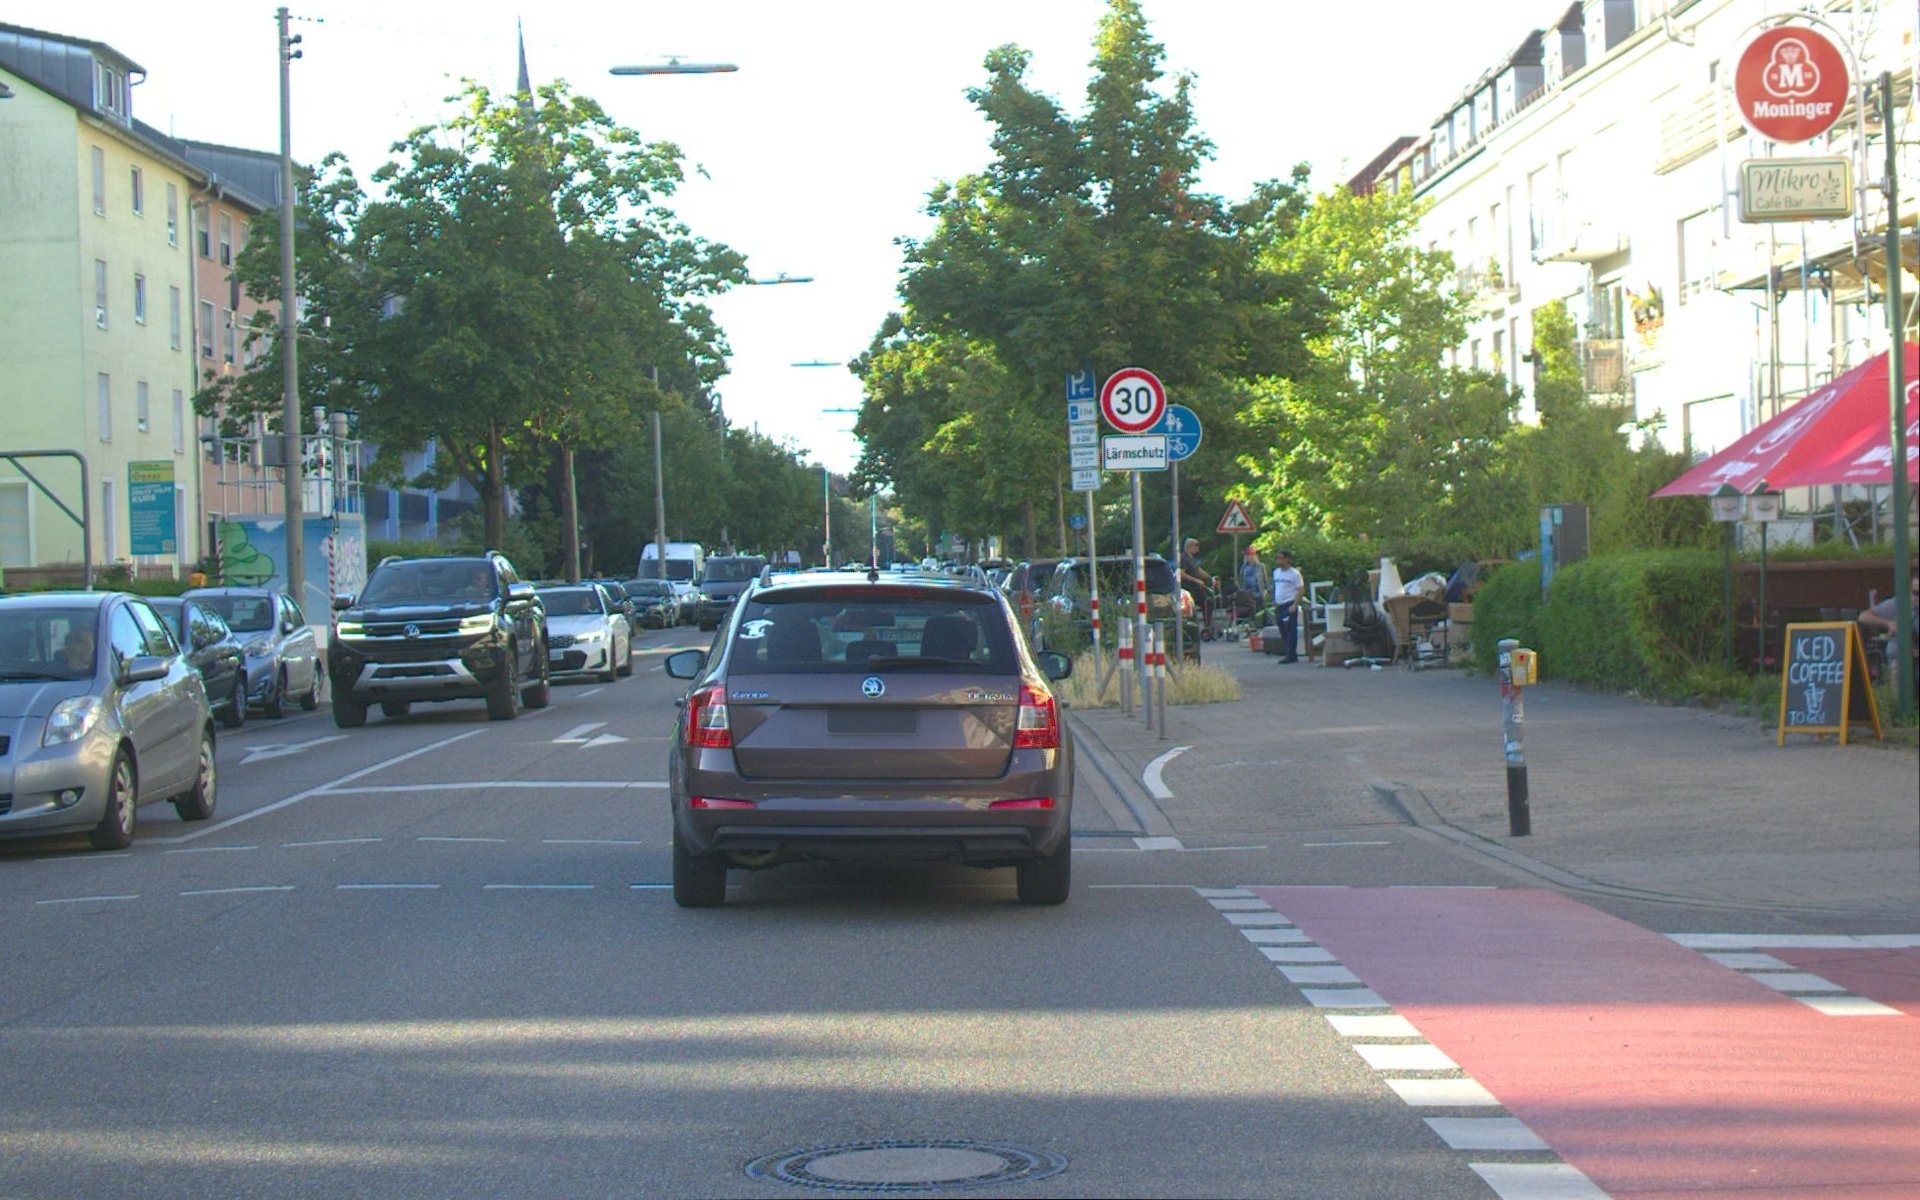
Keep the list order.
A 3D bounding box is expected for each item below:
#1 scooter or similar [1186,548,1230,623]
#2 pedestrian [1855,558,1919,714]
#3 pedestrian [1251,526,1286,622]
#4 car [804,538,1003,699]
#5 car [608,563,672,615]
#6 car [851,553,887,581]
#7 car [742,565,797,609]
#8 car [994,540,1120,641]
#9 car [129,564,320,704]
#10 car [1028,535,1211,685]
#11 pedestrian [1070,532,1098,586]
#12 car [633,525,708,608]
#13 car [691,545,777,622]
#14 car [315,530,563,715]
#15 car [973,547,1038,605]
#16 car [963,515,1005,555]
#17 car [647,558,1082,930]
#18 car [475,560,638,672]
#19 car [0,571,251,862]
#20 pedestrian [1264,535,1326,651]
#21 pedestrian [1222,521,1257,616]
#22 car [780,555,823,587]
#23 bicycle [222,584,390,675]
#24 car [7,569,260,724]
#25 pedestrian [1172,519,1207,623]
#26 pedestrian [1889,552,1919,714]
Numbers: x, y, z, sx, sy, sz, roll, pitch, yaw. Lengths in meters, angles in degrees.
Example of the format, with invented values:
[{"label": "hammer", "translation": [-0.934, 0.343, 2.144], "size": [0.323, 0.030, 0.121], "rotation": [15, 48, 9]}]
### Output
[{"label": "scooter or similar", "translation": [4.463, -0.264, 61.784], "size": [0.746, 1.313, 0.721], "rotation": [-1, 1, 6]}, {"label": "pedestrian", "translation": [6.985, 0.266, 25.645], "size": [0.493, 1.146, 0.526], "rotation": [-1, 0, 3]}, {"label": "pedestrian", "translation": [5.499, -0.466, 61.341], "size": [0.510, 1.691, 0.527], "rotation": [-1, 1, -5]}, {"label": "car", "translation": [-0.596, 0.186, 35.498], "size": [1.892, 1.501, 3.790], "rotation": [2, 0, -1]}, {"label": "car", "translation": [-9.392, -0.332, 101.109], "size": [1.612, 1.468, 3.813], "rotation": [1, 1, -1]}, {"label": "car", "translation": [-5.953, -2.136, 224.100], "size": [1.993, 1.744, 4.001], "rotation": [-2, 1, -6]}, {"label": "car", "translation": [-7.096, -0.487, 128.375], "size": [1.832, 1.465, 4.452], "rotation": [-4, 1, -1]}, {"label": "car", "translation": [1.635, -0.192, 59.253], "size": [1.721, 1.650, 4.598], "rotation": [-1, 1, -4]}, {"label": "car", "translation": [-8.713, 0.371, 40.978], "size": [1.637, 1.546, 3.787], "rotation": [-1, 1, -3]}, {"label": "car", "translation": [1.806, 0.081, 40.021], "size": [1.792, 1.626, 4.030], "rotation": [-1, 1, -2]}, {"label": "pedestrian", "translation": [4.392, -1.452, 121.734], "size": [0.799, 1.854, 0.950], "rotation": [-2, 1, 10]}, {"label": "car", "translation": [-9.430, -1.118, 112.366], "size": [1.993, 2.607, 7.106], "rotation": [0, 1, -1]}, {"label": "car", "translation": [-6.120, -0.471, 93.542], "size": [1.993, 1.939, 4.778], "rotation": [-3, 1, -1]}, {"label": "car", "translation": [-5.703, 0.201, 38.268], "size": [1.862, 1.823, 5.227], "rotation": [-3, 1, 0]}, {"label": "car", "translation": [1.299, -0.724, 99.668], "size": [1.718, 1.595, 4.096], "rotation": [-2, 1, -1]}, {"label": "car", "translation": [1.055, -2.801, 148.486], "size": [1.754, 1.681, 4.252], "rotation": [0, 1, 1]}, {"label": "car", "translation": [-0.358, 0.557, 15.867], "size": [1.754, 1.487, 4.000], "rotation": [0, 1, 1]}, {"label": "car", "translation": [-5.879, 0.201, 50.588], "size": [1.836, 1.468, 4.671], "rotation": [-3, 1, -1]}, {"label": "car", "translation": [-5.611, 0.645, 20.744], "size": [1.804, 1.552, 4.000], "rotation": [-2, 1, 0]}, {"label": "pedestrian", "translation": [4.593, -0.103, 47.124], "size": [0.555, 1.562, 0.748], "rotation": [-2, 1, -19]}, {"label": "pedestrian", "translation": [5.048, -0.566, 62.140], "size": [0.510, 1.691, 0.527], "rotation": [-1, 1, -5]}, {"label": "car", "translation": [-7.653, -1.401, 166.400], "size": [1.700, 1.465, 4.294], "rotation": [-2, 1, 2]}, {"label": "bicycle", "translation": [-8.387, 0.373, 44.117], "size": [2.005, 1.085, 0.583], "rotation": [2, 0, 0]}, {"label": "car", "translation": [-8.607, 0.444, 36.108], "size": [1.653, 1.474, 3.943], "rotation": [-1, 1, 0]}, {"label": "pedestrian", "translation": [4.127, -0.518, 61.815], "size": [0.548, 1.843, 0.764], "rotation": [-1, 1, 6]}, {"label": "pedestrian", "translation": [6.954, 0.231, 24.691], "size": [0.412, 1.146, 0.631], "rotation": [-1, 0, 3]}]
